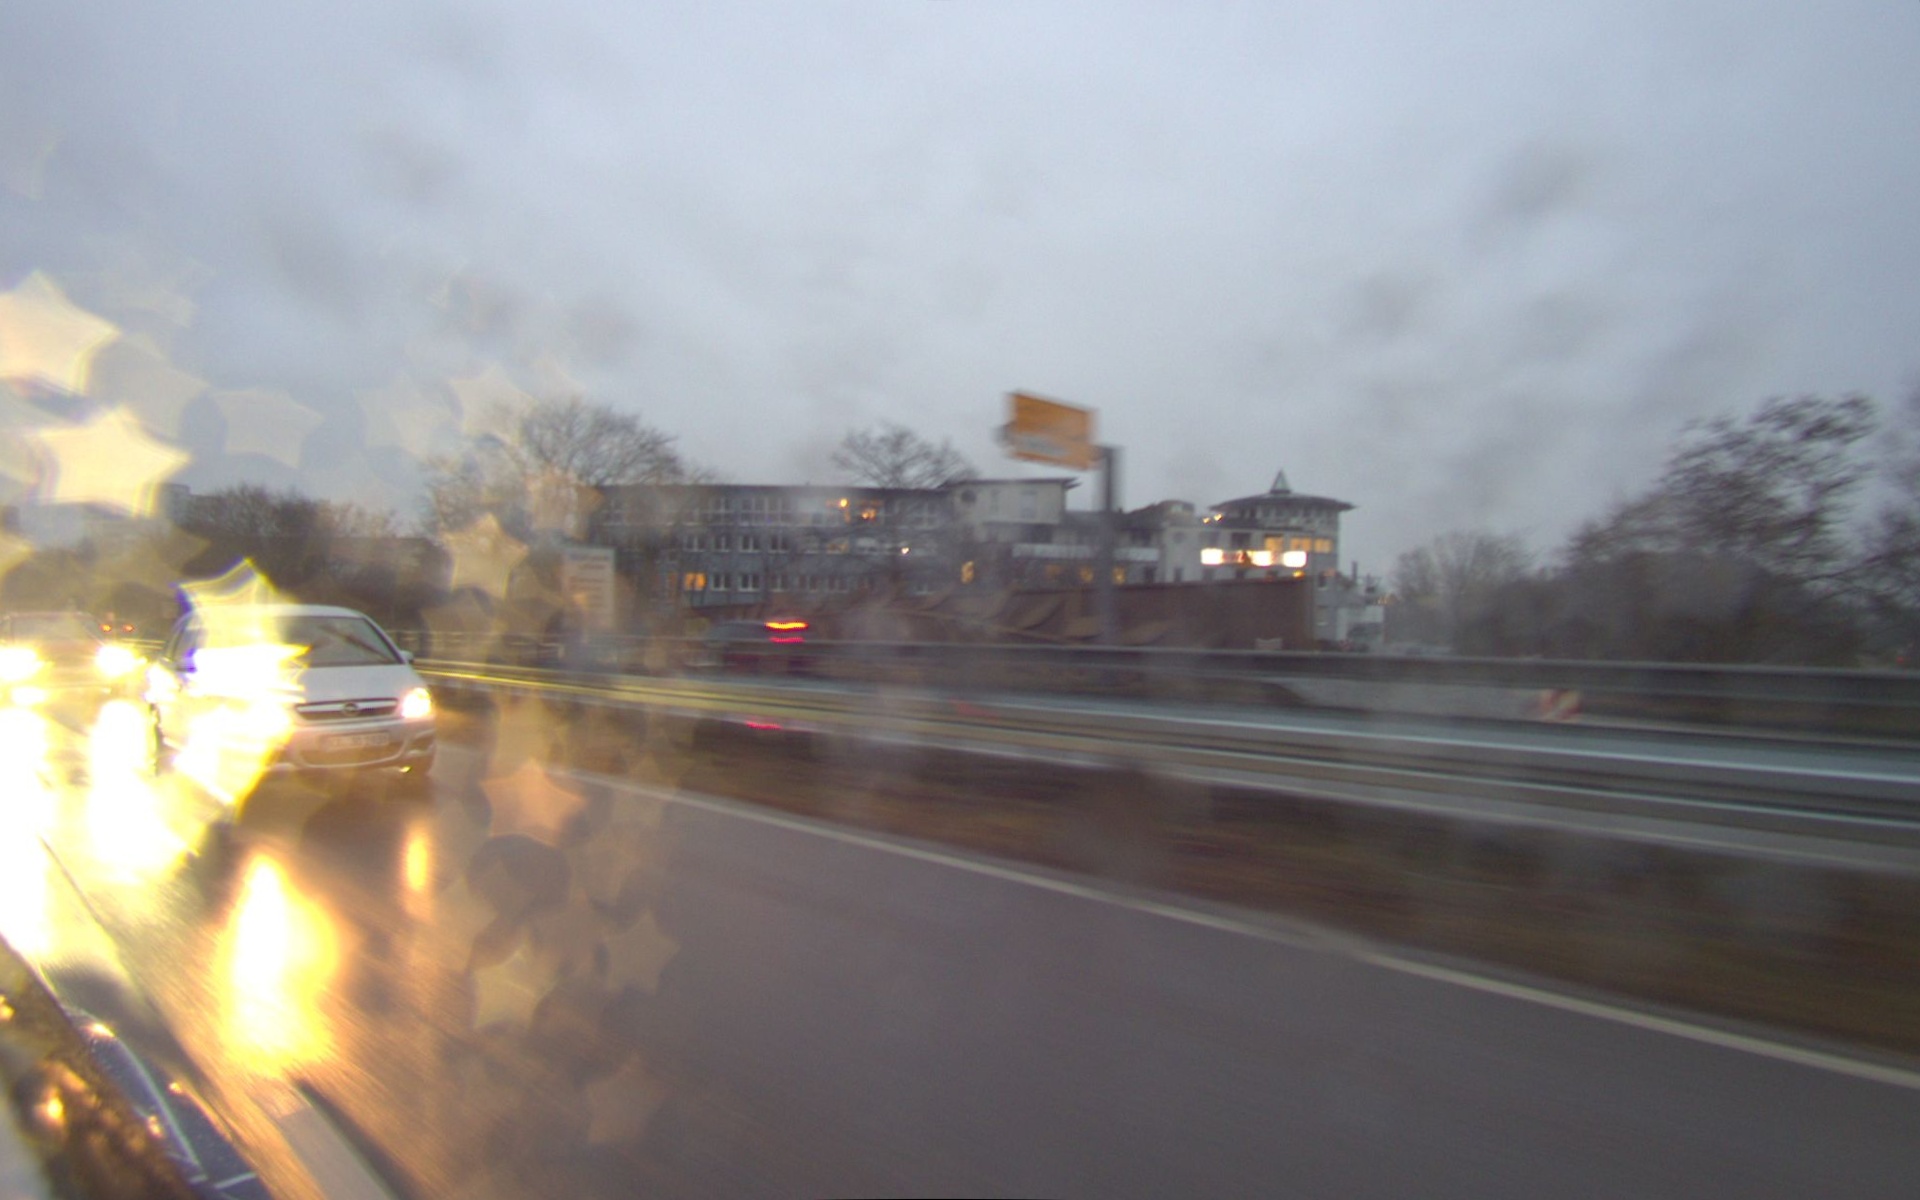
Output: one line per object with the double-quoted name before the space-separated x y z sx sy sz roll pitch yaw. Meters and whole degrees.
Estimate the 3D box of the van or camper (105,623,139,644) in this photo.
"van or camper" -72.878 2.870 87.997 4.885 1.749 1.741 -1 -1 44

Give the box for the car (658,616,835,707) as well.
"car" -5.155 1.382 24.126 4.285 1.933 1.973 -1 -1 41

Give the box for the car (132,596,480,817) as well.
"car" -6.255 0.813 9.479 4.165 1.611 1.742 -1 -2 43

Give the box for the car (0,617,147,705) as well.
"car" -17.788 1.116 19.951 4.143 1.542 2.001 -1 -1 41

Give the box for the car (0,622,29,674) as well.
"car" -27.510 1.325 28.308 3.997 1.344 1.676 0 0 40
